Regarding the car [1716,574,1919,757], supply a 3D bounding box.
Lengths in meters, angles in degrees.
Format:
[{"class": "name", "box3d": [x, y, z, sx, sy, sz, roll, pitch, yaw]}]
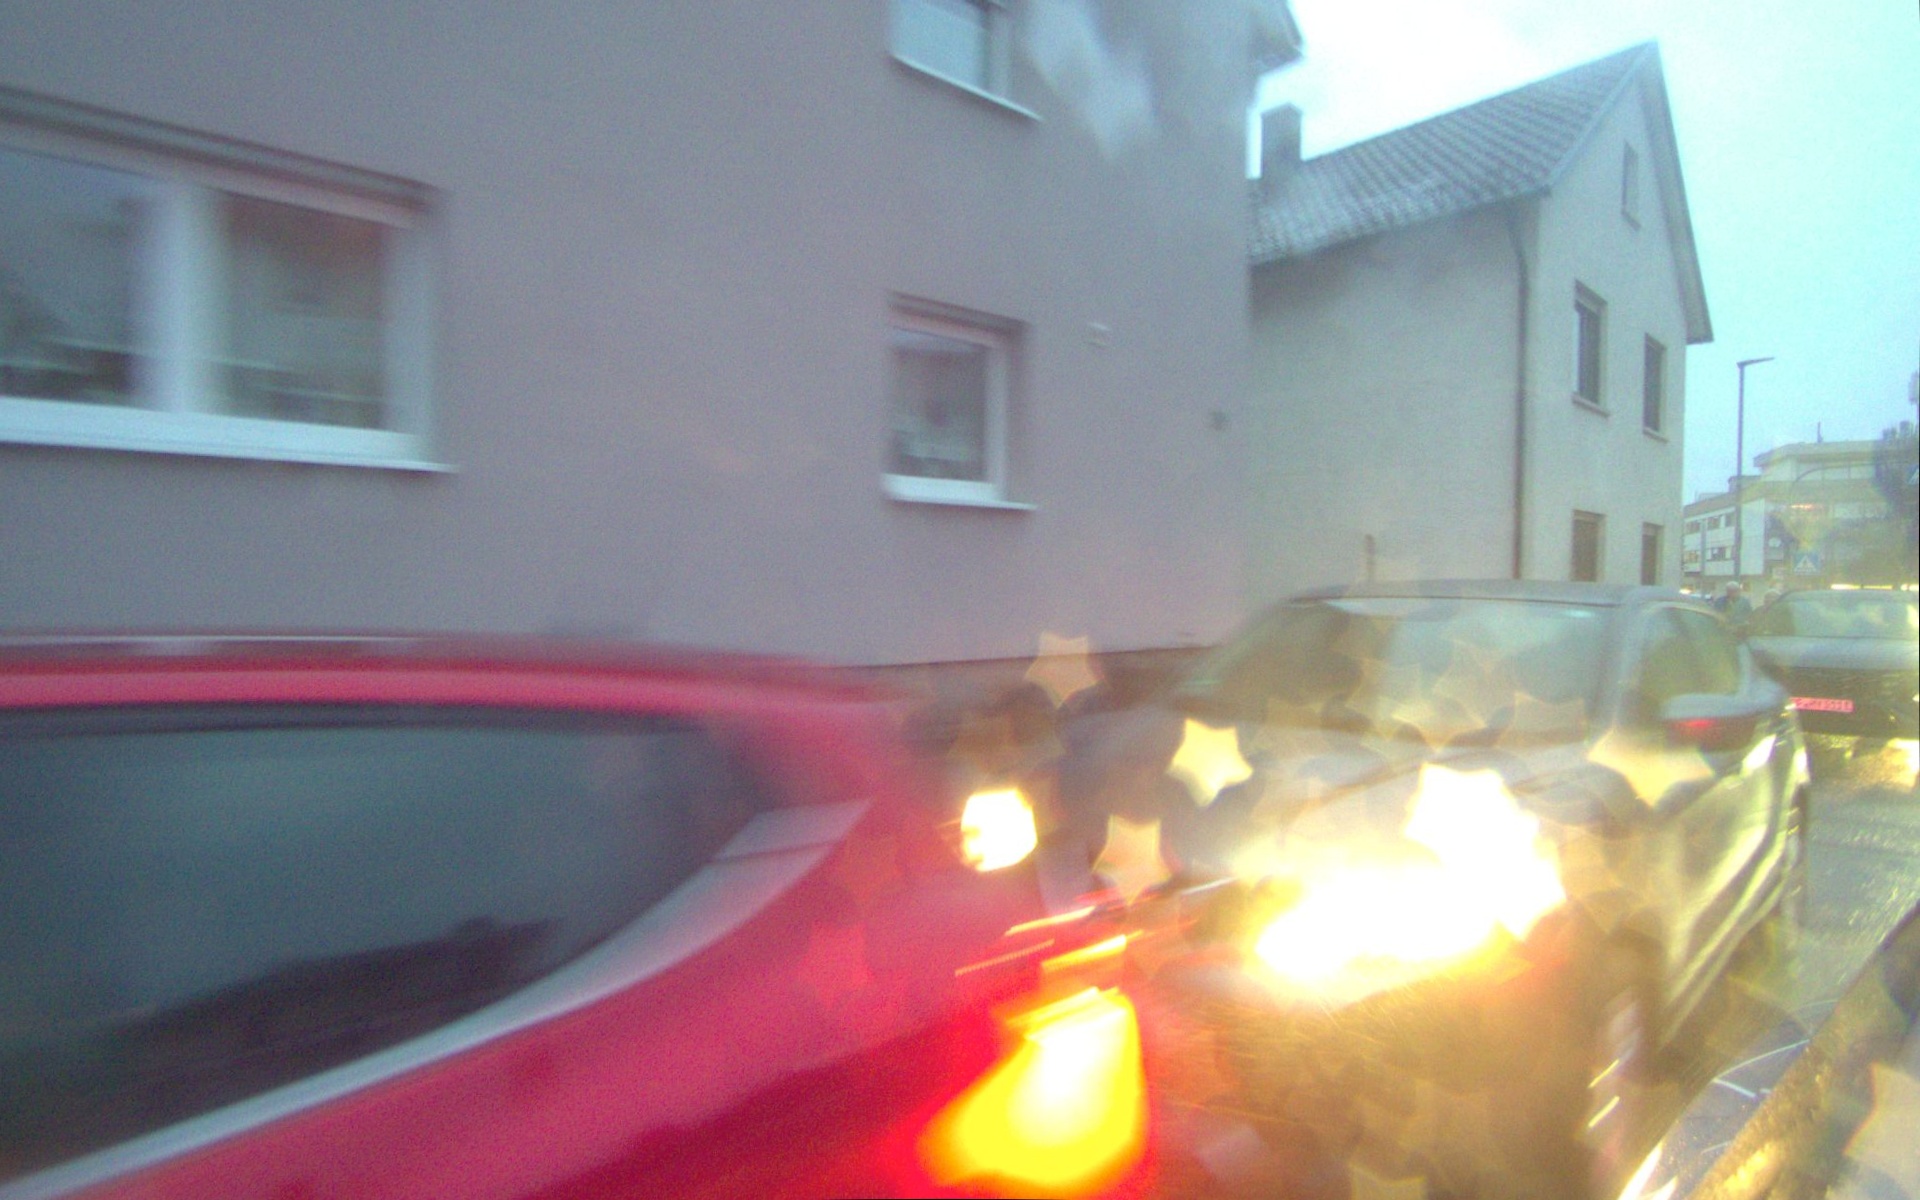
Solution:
[{"class": "car", "box3d": [9.871, 0.578, 11.071, 4.263, 1.657, 1.849, 0, 0, -43]}]

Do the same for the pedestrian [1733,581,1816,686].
[{"class": "pedestrian", "box3d": [13.963, 0.549, 17.352, 0.975, 1.687, 0.868, 1, 3, -43]}]

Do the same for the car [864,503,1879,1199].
[{"class": "car", "box3d": [1.785, 0.595, 3.656, 3.930, 1.553, 1.801, 0, 1, -41]}]

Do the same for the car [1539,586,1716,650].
[{"class": "car", "box3d": [18.712, 0.454, 28.482, 3.900, 1.492, 1.724, 4, 3, 43]}]

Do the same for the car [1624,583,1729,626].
[{"class": "car", "box3d": [35.024, 0.180, 49.593, 4.031, 1.865, 1.840, 4, 3, 35]}]

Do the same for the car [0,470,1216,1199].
[{"class": "car", "box3d": [-1.552, 0.599, 0.987, 3.686, 1.412, 1.682, 0, 1, -41]}]

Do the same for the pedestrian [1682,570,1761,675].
[{"class": "pedestrian", "box3d": [13.458, 0.380, 17.885, 0.955, 1.754, 0.850, 1, 3, -43]}]
